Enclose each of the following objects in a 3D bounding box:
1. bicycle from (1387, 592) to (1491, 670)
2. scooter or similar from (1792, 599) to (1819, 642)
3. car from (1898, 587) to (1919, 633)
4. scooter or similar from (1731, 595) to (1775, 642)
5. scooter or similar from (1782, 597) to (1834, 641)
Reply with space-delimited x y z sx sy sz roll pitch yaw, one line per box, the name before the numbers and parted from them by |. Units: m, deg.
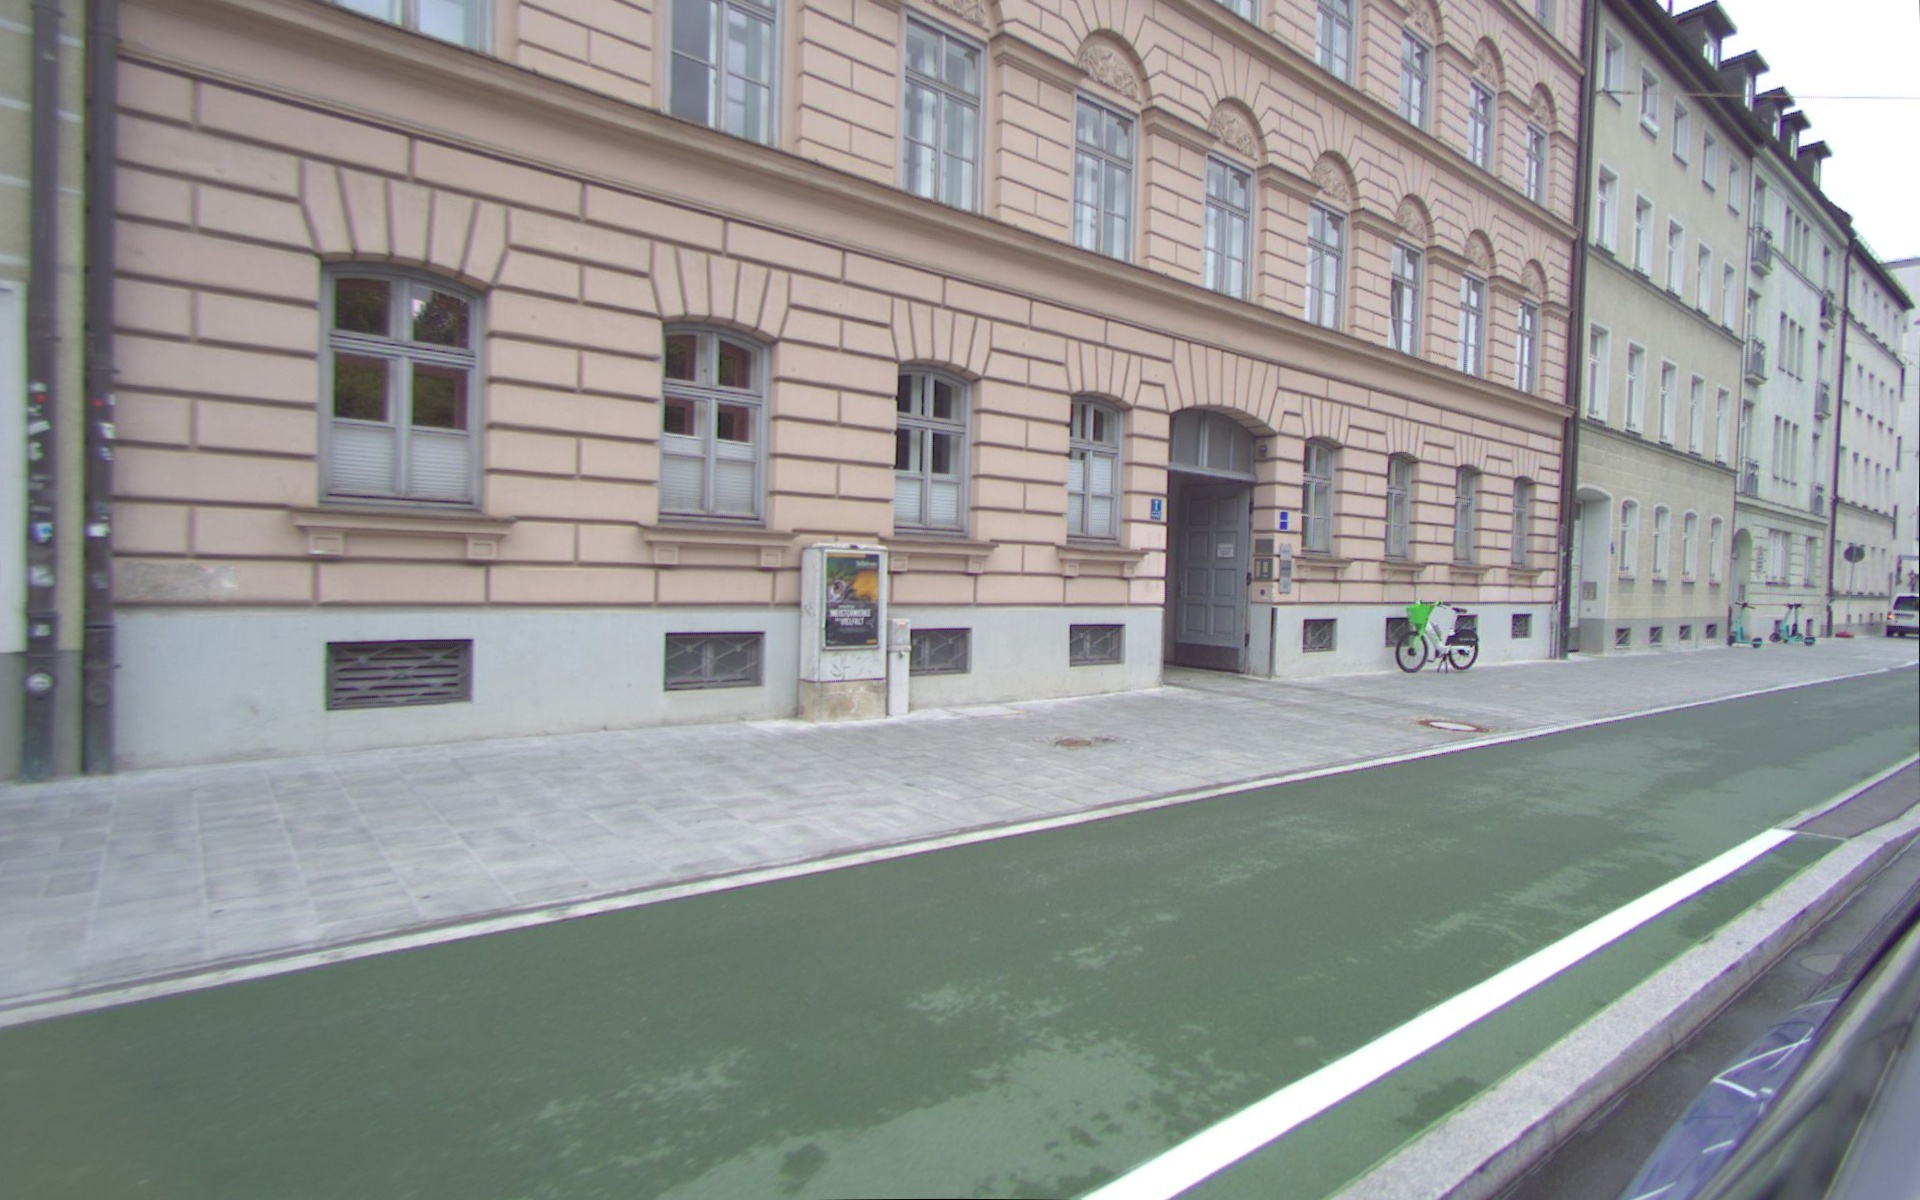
bicycle | 7.678 0.492 16.210 1.695 1.188 0.428 1 2 -22
scooter or similar | 26.362 0.640 31.544 1.100 1.288 0.388 0 4 -40
car | 39.739 0.452 41.117 4.355 1.771 1.738 1 3 -39
scooter or similar | 21.842 0.520 27.865 1.096 1.246 0.248 2 3 -13
scooter or similar | 25.707 0.558 30.693 1.105 1.245 0.246 4 3 18
